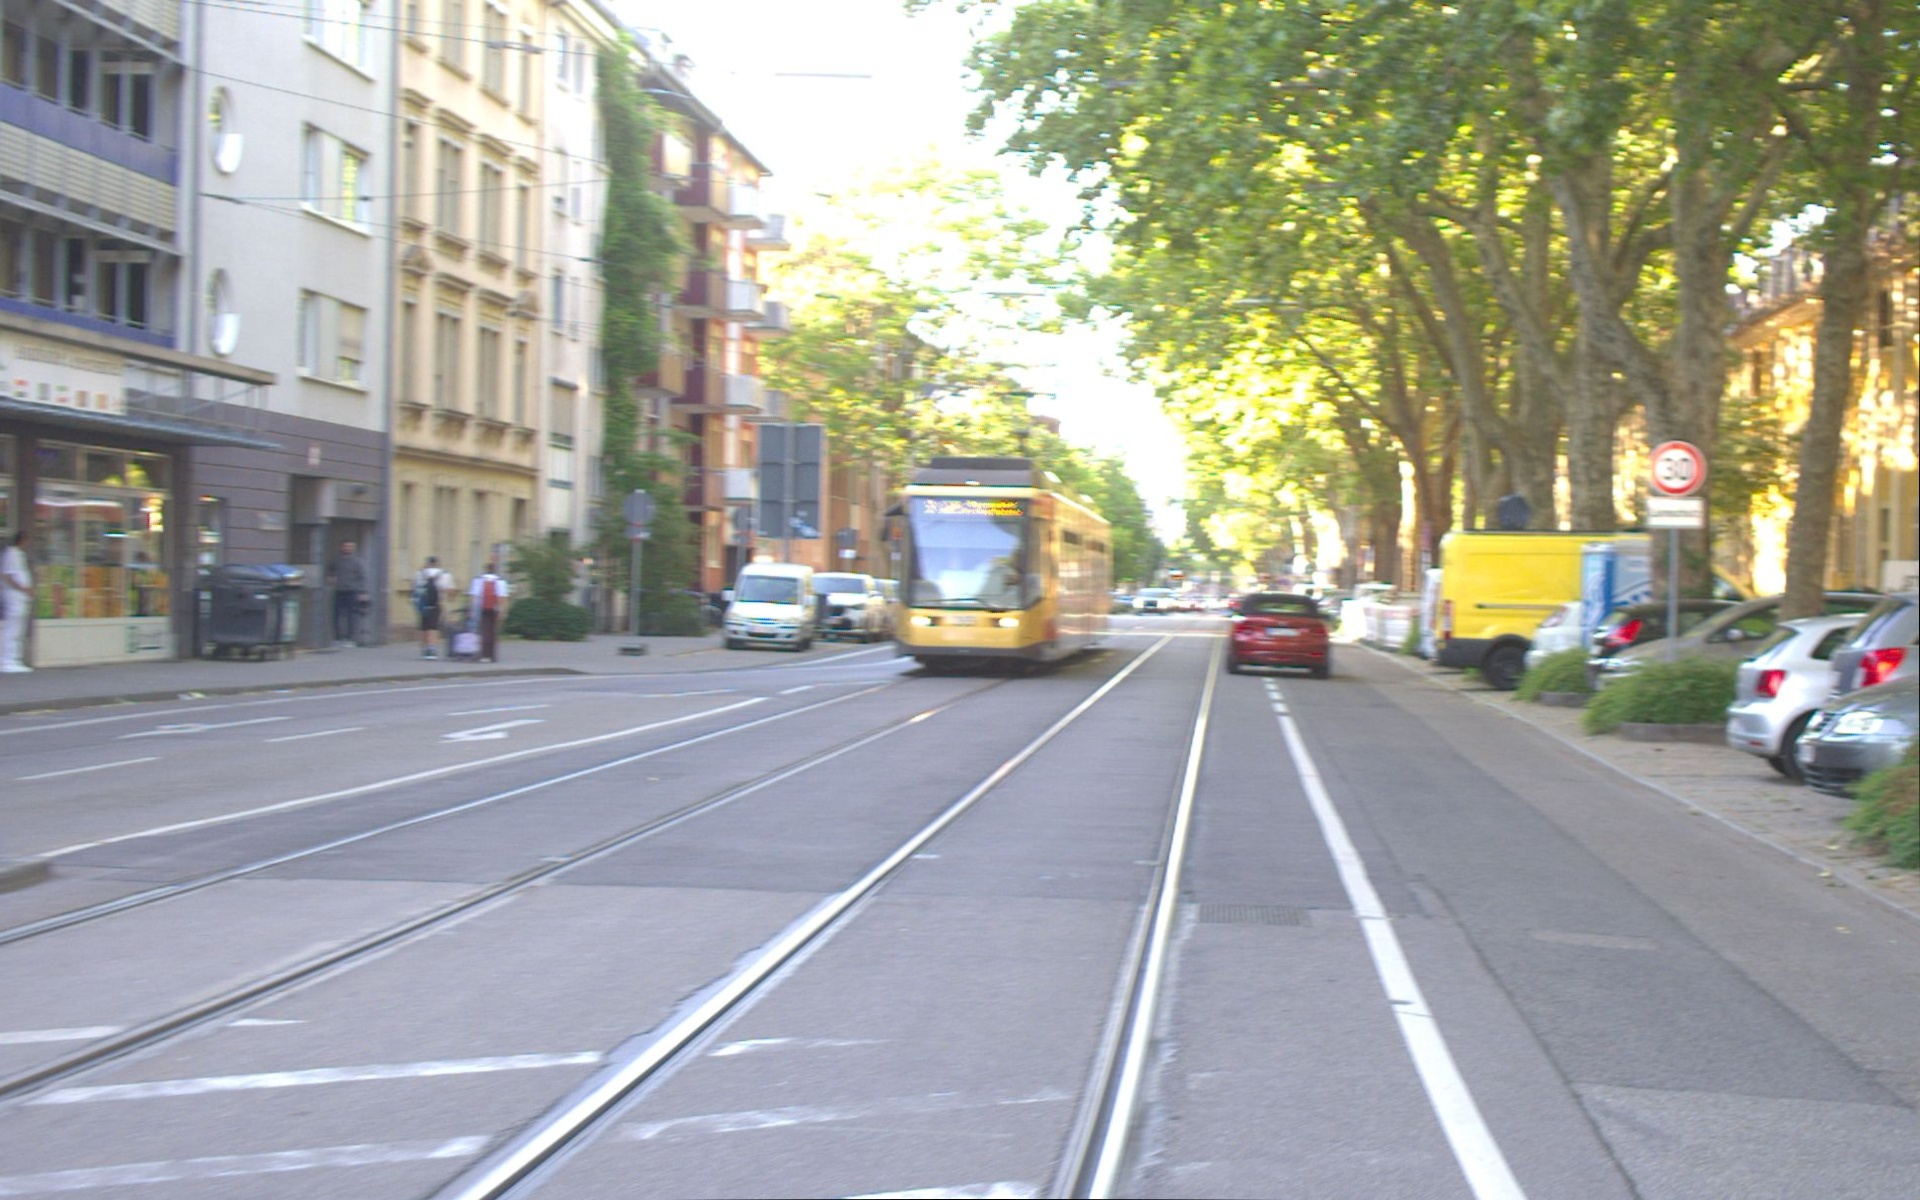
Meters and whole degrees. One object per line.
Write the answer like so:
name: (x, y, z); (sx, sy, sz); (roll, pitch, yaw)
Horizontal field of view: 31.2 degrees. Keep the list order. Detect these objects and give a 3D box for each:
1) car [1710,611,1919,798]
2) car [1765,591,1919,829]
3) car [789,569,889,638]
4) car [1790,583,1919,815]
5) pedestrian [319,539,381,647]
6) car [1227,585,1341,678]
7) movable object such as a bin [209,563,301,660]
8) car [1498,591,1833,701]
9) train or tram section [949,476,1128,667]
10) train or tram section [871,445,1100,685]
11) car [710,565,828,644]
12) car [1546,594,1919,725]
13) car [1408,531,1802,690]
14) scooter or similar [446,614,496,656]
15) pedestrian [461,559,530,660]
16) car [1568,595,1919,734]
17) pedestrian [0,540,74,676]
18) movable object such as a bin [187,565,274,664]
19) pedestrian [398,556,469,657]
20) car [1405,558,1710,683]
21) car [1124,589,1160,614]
car: (9.000, 0.902, 29.639); (4.713, 1.529, 1.919); (1, 0, 5)
car: (8.161, 0.771, 24.011); (4.713, 1.596, 1.919); (1, 0, 6)
car: (-2.863, 0.074, 82.269); (1.894, 1.559, 4.392); (1, 0, 4)
car: (8.932, 0.769, 26.393); (4.713, 1.716, 1.919); (1, 0, 5)
pedestrian: (-10.694, -0.124, 60.260); (0.892, 1.858, 0.789); (1, 0, -22)
car: (5.644, 0.568, 59.938); (1.894, 1.559, 4.391); (0, -1, 5)
movable object such as a bin: (-10.693, 0.172, 52.198); (1.013, 1.423, 1.256); (1, 0, 6)
car: (10.615, 0.683, 51.985); (4.712, 1.529, 1.919); (1, 0, 3)
train or tram section: (1.817, -0.567, 72.426); (2.832, 3.626, 12.814); (1, 0, 5)
train or tram section: (0.659, -0.561, 59.486); (2.861, 3.626, 13.195); (1, 0, 5)
car: (-3.953, 0.091, 71.742); (1.894, 1.559, 4.392); (1, 0, 4)
car: (9.963, 0.743, 43.741); (4.712, 1.529, 1.919); (1, 0, 2)
car: (10.168, 0.155, 54.595); (5.947, 2.358, 2.060); (1, 0, 6)
scooter or similar: (-7.907, 0.564, 55.630); (0.624, 0.646, 0.766); (1, 0, 5)
pedestrian: (-7.623, 0.154, 56.475); (0.892, 1.619, 1.034); (1, 0, 5)
car: (9.780, 0.759, 41.087); (4.712, 1.529, 1.919); (1, 0, 3)
pedestrian: (-11.599, 0.096, 42.883); (1.029, 1.657, 1.228); (1, 0, -14)
movable object such as a bin: (-10.763, 0.203, 50.762); (1.013, 1.423, 1.144); (1, 0, 0)
pedestrian: (-8.591, 0.105, 56.115); (0.892, 1.619, 1.034); (1, 0, 5)
car: (11.105, 0.367, 64.208); (5.444, 2.184, 2.060); (1, 0, 6)
car: (11.291, 0.100, 213.746); (1.993, 1.504, 4.000); (1, 0, 0)
